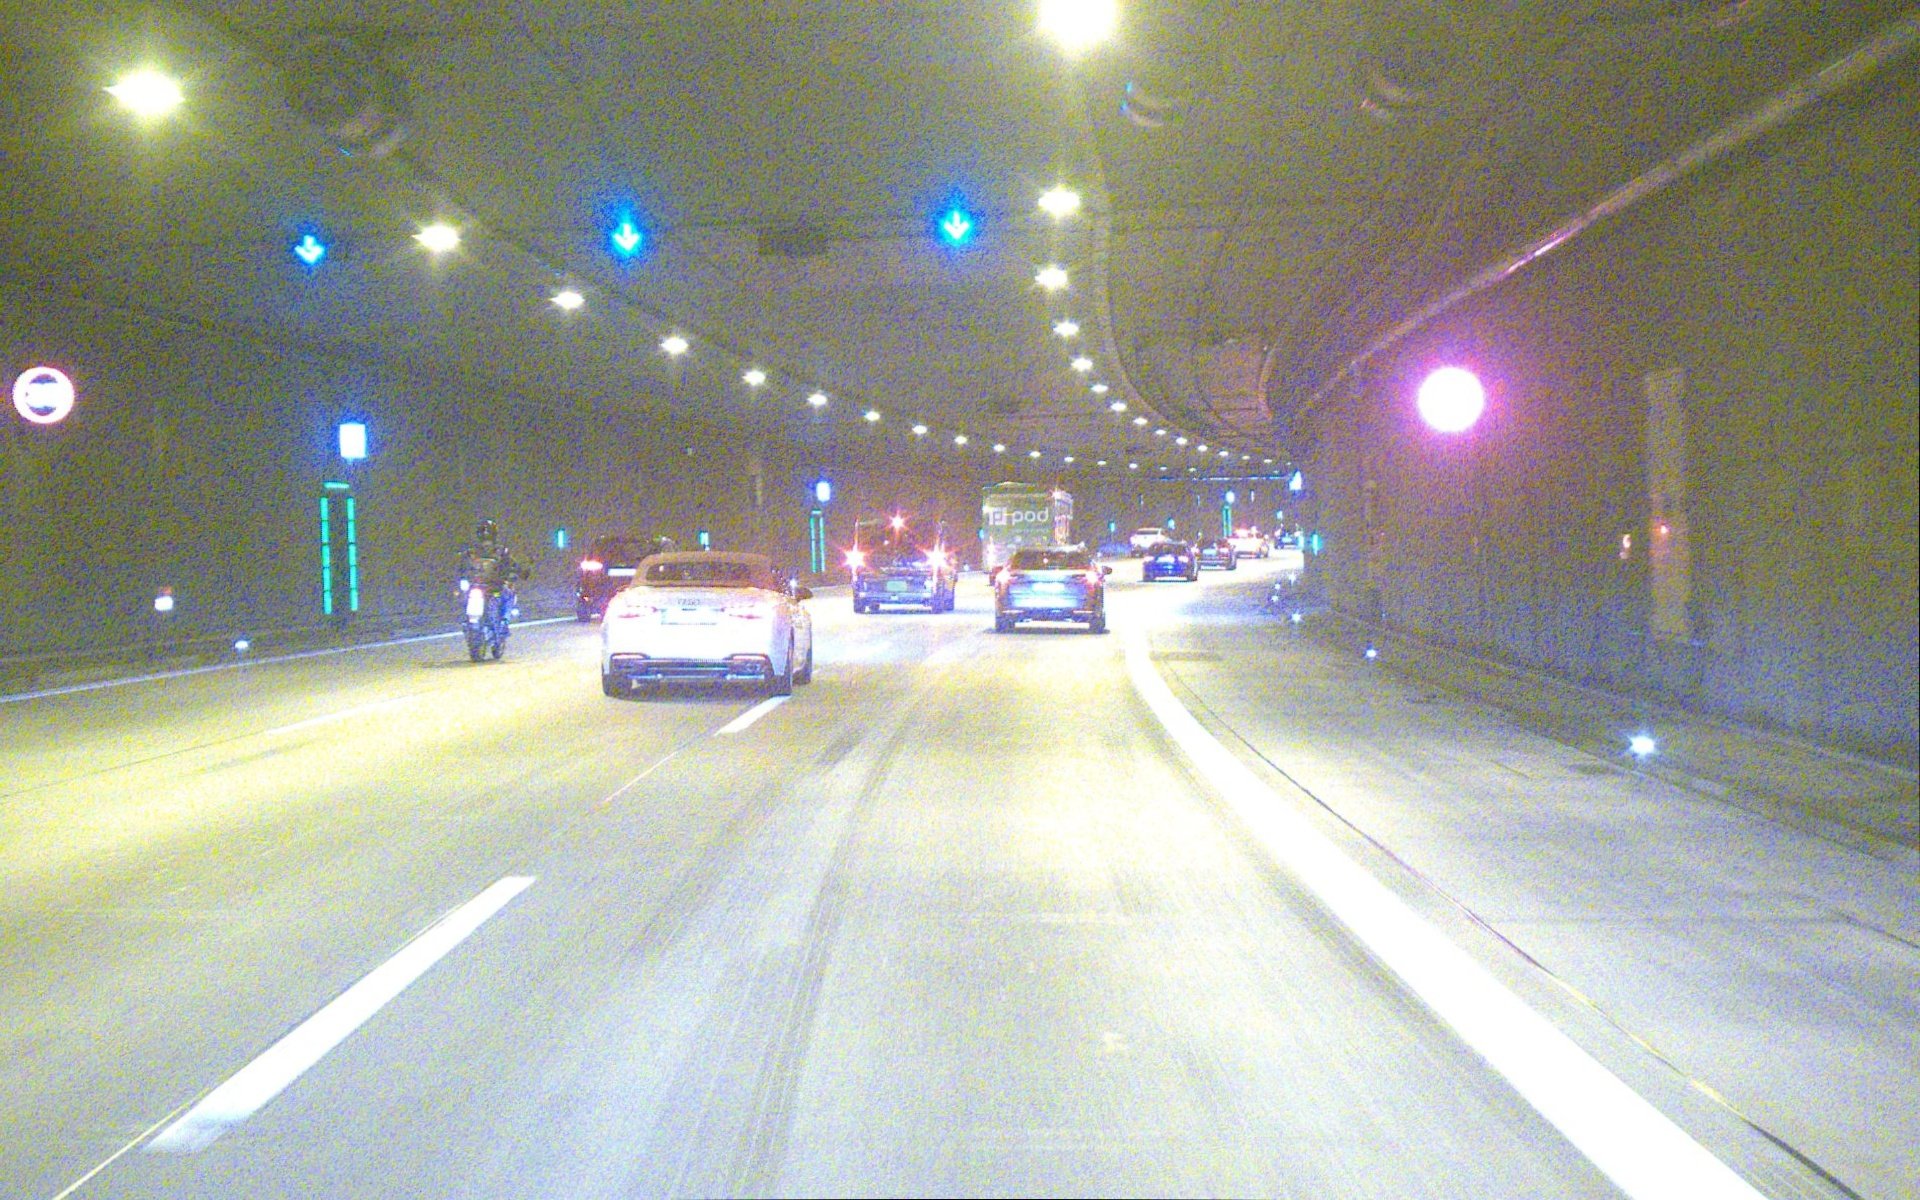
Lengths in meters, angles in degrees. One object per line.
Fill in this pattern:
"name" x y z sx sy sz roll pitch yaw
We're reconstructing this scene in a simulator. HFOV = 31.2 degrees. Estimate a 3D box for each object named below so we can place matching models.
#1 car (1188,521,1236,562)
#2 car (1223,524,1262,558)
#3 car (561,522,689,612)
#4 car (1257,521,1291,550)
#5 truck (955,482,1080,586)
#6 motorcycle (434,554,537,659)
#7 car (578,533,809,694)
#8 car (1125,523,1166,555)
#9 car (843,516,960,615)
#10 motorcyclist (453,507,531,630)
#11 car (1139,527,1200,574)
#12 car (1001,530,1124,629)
"car" 10.829 -2.527 147.731 1.859 1.660 3.999 -2 1 6
"car" 14.895 -3.120 181.276 1.965 1.744 4.000 -2 1 5
"car" -6.112 -0.619 63.098 1.785 1.593 3.801 1 1 3
"car" 19.189 -3.966 209.829 1.834 1.685 3.999 -2 1 8
"truck" 1.998 -2.265 113.587 3.083 3.102 10.028 -3 2 6
"motorcycle" -5.773 0.062 41.977 0.845 1.241 2.604 0 1 1
"car" -2.568 0.096 33.982 1.993 1.478 4.000 -1 1 -1
"car" 9.869 -3.233 182.225 1.831 1.612 3.999 -2 1 7
"car" -1.193 -0.737 71.718 1.994 1.965 3.999 2 1 5
"motorcyclist" -5.761 -0.394 42.362 0.839 1.472 0.822 0 3 0
"car" 7.326 -1.740 119.817 1.844 1.562 3.999 -2 1 7
"car" 1.753 -0.368 57.816 1.840 1.596 3.999 1 1 5
